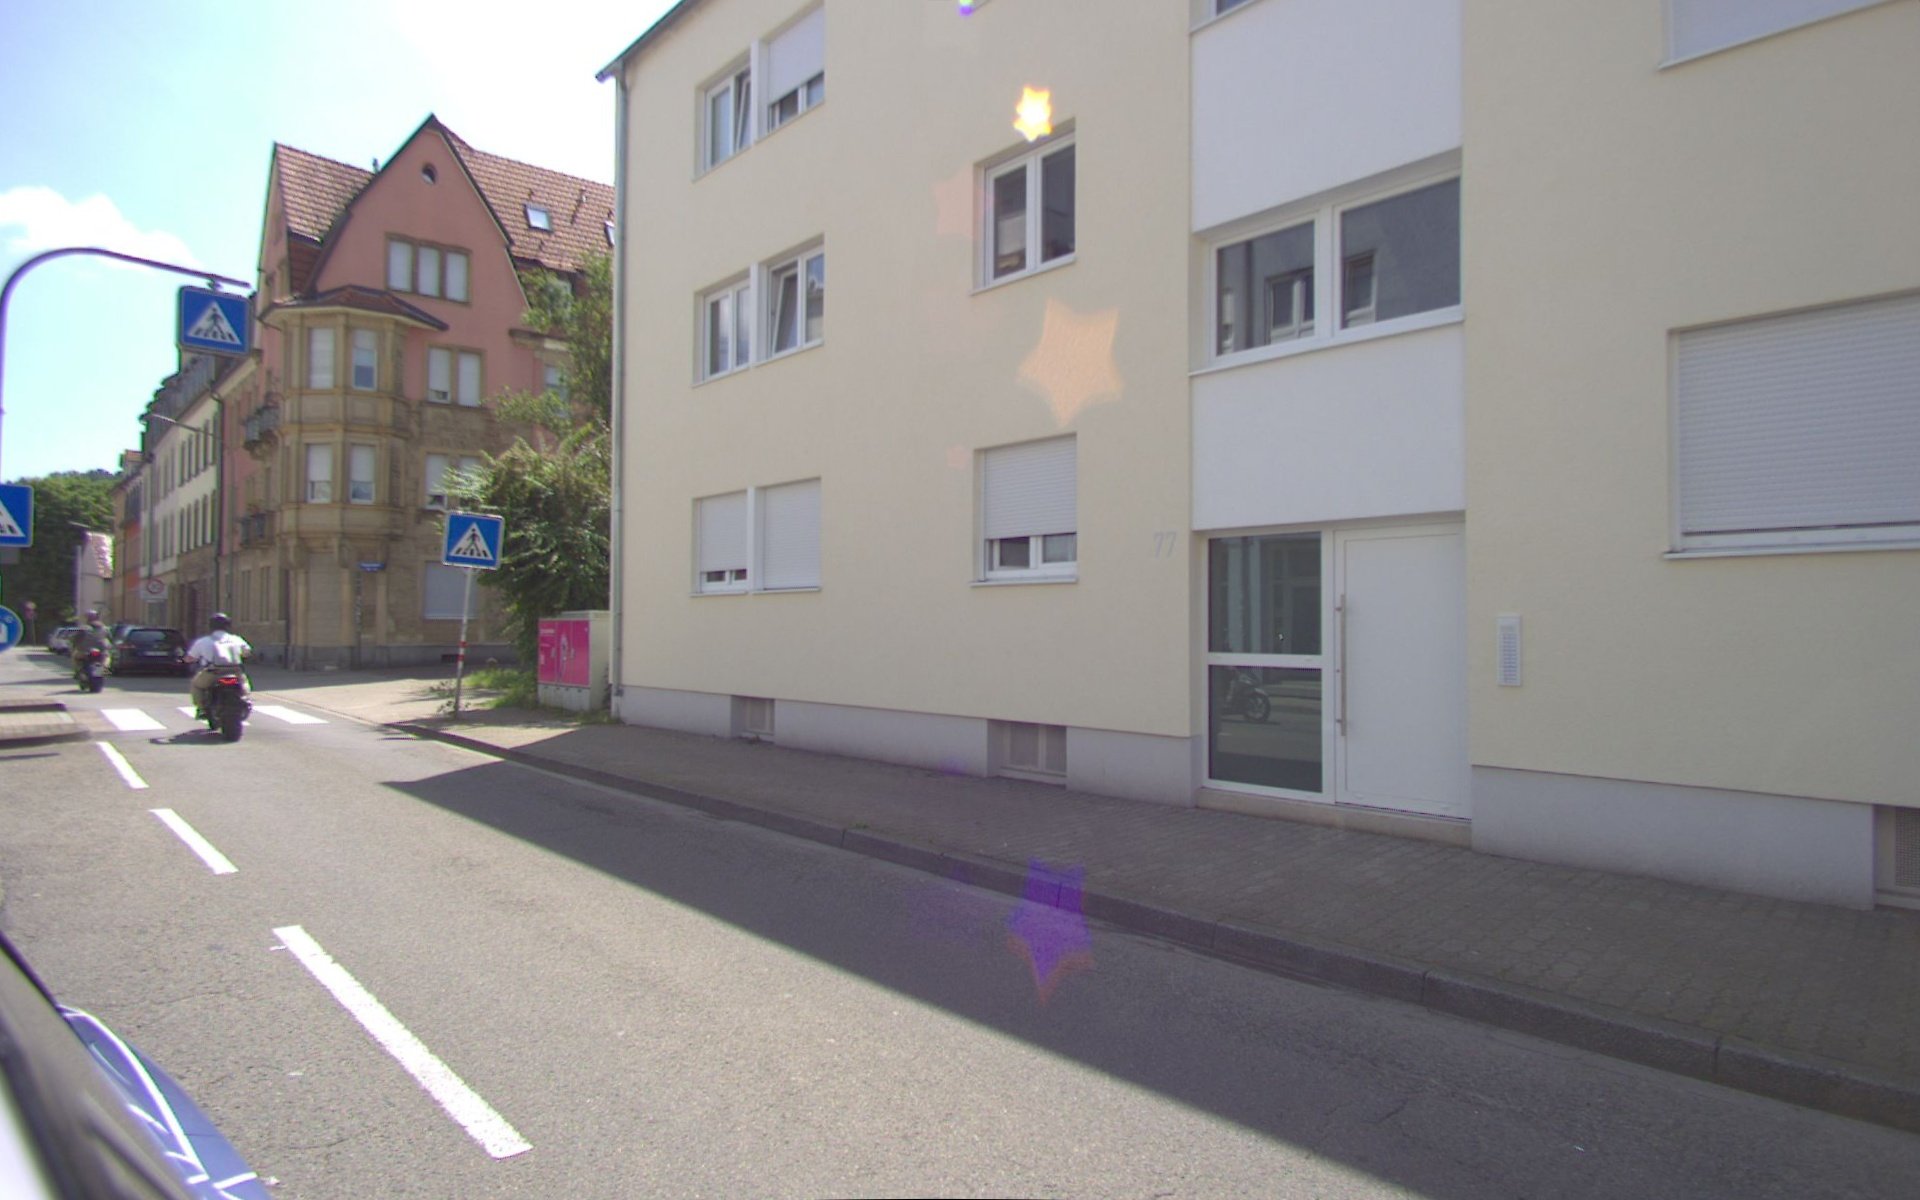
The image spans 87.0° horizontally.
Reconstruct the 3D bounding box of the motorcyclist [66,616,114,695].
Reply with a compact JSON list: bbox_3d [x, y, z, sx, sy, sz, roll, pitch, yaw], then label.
[{"bbox_3d":[-18.636,1.182,21.681,0.704,1.647,1.070,3,-4,-41],"label":"motorcyclist"}]

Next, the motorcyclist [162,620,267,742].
[{"bbox_3d":[-9.692,1.018,13.158,1.203,1.491,0.905,-2,-3,45],"label":"motorcyclist"}]

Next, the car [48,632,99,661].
[{"bbox_3d":[-48.493,2.539,55.359,1.856,1.522,4.384,2,-3,-44],"label":"car"}]

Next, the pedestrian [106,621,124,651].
[{"bbox_3d":[-50.141,2.129,60.072,0.764,1.784,0.759,-2,-1,45],"label":"pedestrian"}]

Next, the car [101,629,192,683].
[{"bbox_3d":[-24.564,1.642,30.491,1.761,1.469,4.639,3,-3,-43],"label":"car"}]

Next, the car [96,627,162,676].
[{"bbox_3d":[-27.639,1.680,33.645,1.420,1.534,2.697,3,-3,-45],"label":"car"}]

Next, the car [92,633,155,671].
[{"bbox_3d":[-33.546,2.085,40.552,1.615,1.442,4.021,4,-4,-44],"label":"car"}]

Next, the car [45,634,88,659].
[{"bbox_3d":[-54.467,2.820,61.668,1.690,1.470,3.855,4,-5,-44],"label":"car"}]

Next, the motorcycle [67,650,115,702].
[{"bbox_3d":[-18.698,1.610,21.762,0.704,1.036,2.242,3,-4,-41],"label":"motorcycle"}]

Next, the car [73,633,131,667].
[{"bbox_3d":[-37.858,2.192,44.636,3.496,1.453,1.580,-2,-4,45],"label":"car"}]

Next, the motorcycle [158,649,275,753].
[{"bbox_3d":[-9.681,1.257,13.141,0.886,1.185,2.209,2,-2,-45],"label":"motorcycle"}]
